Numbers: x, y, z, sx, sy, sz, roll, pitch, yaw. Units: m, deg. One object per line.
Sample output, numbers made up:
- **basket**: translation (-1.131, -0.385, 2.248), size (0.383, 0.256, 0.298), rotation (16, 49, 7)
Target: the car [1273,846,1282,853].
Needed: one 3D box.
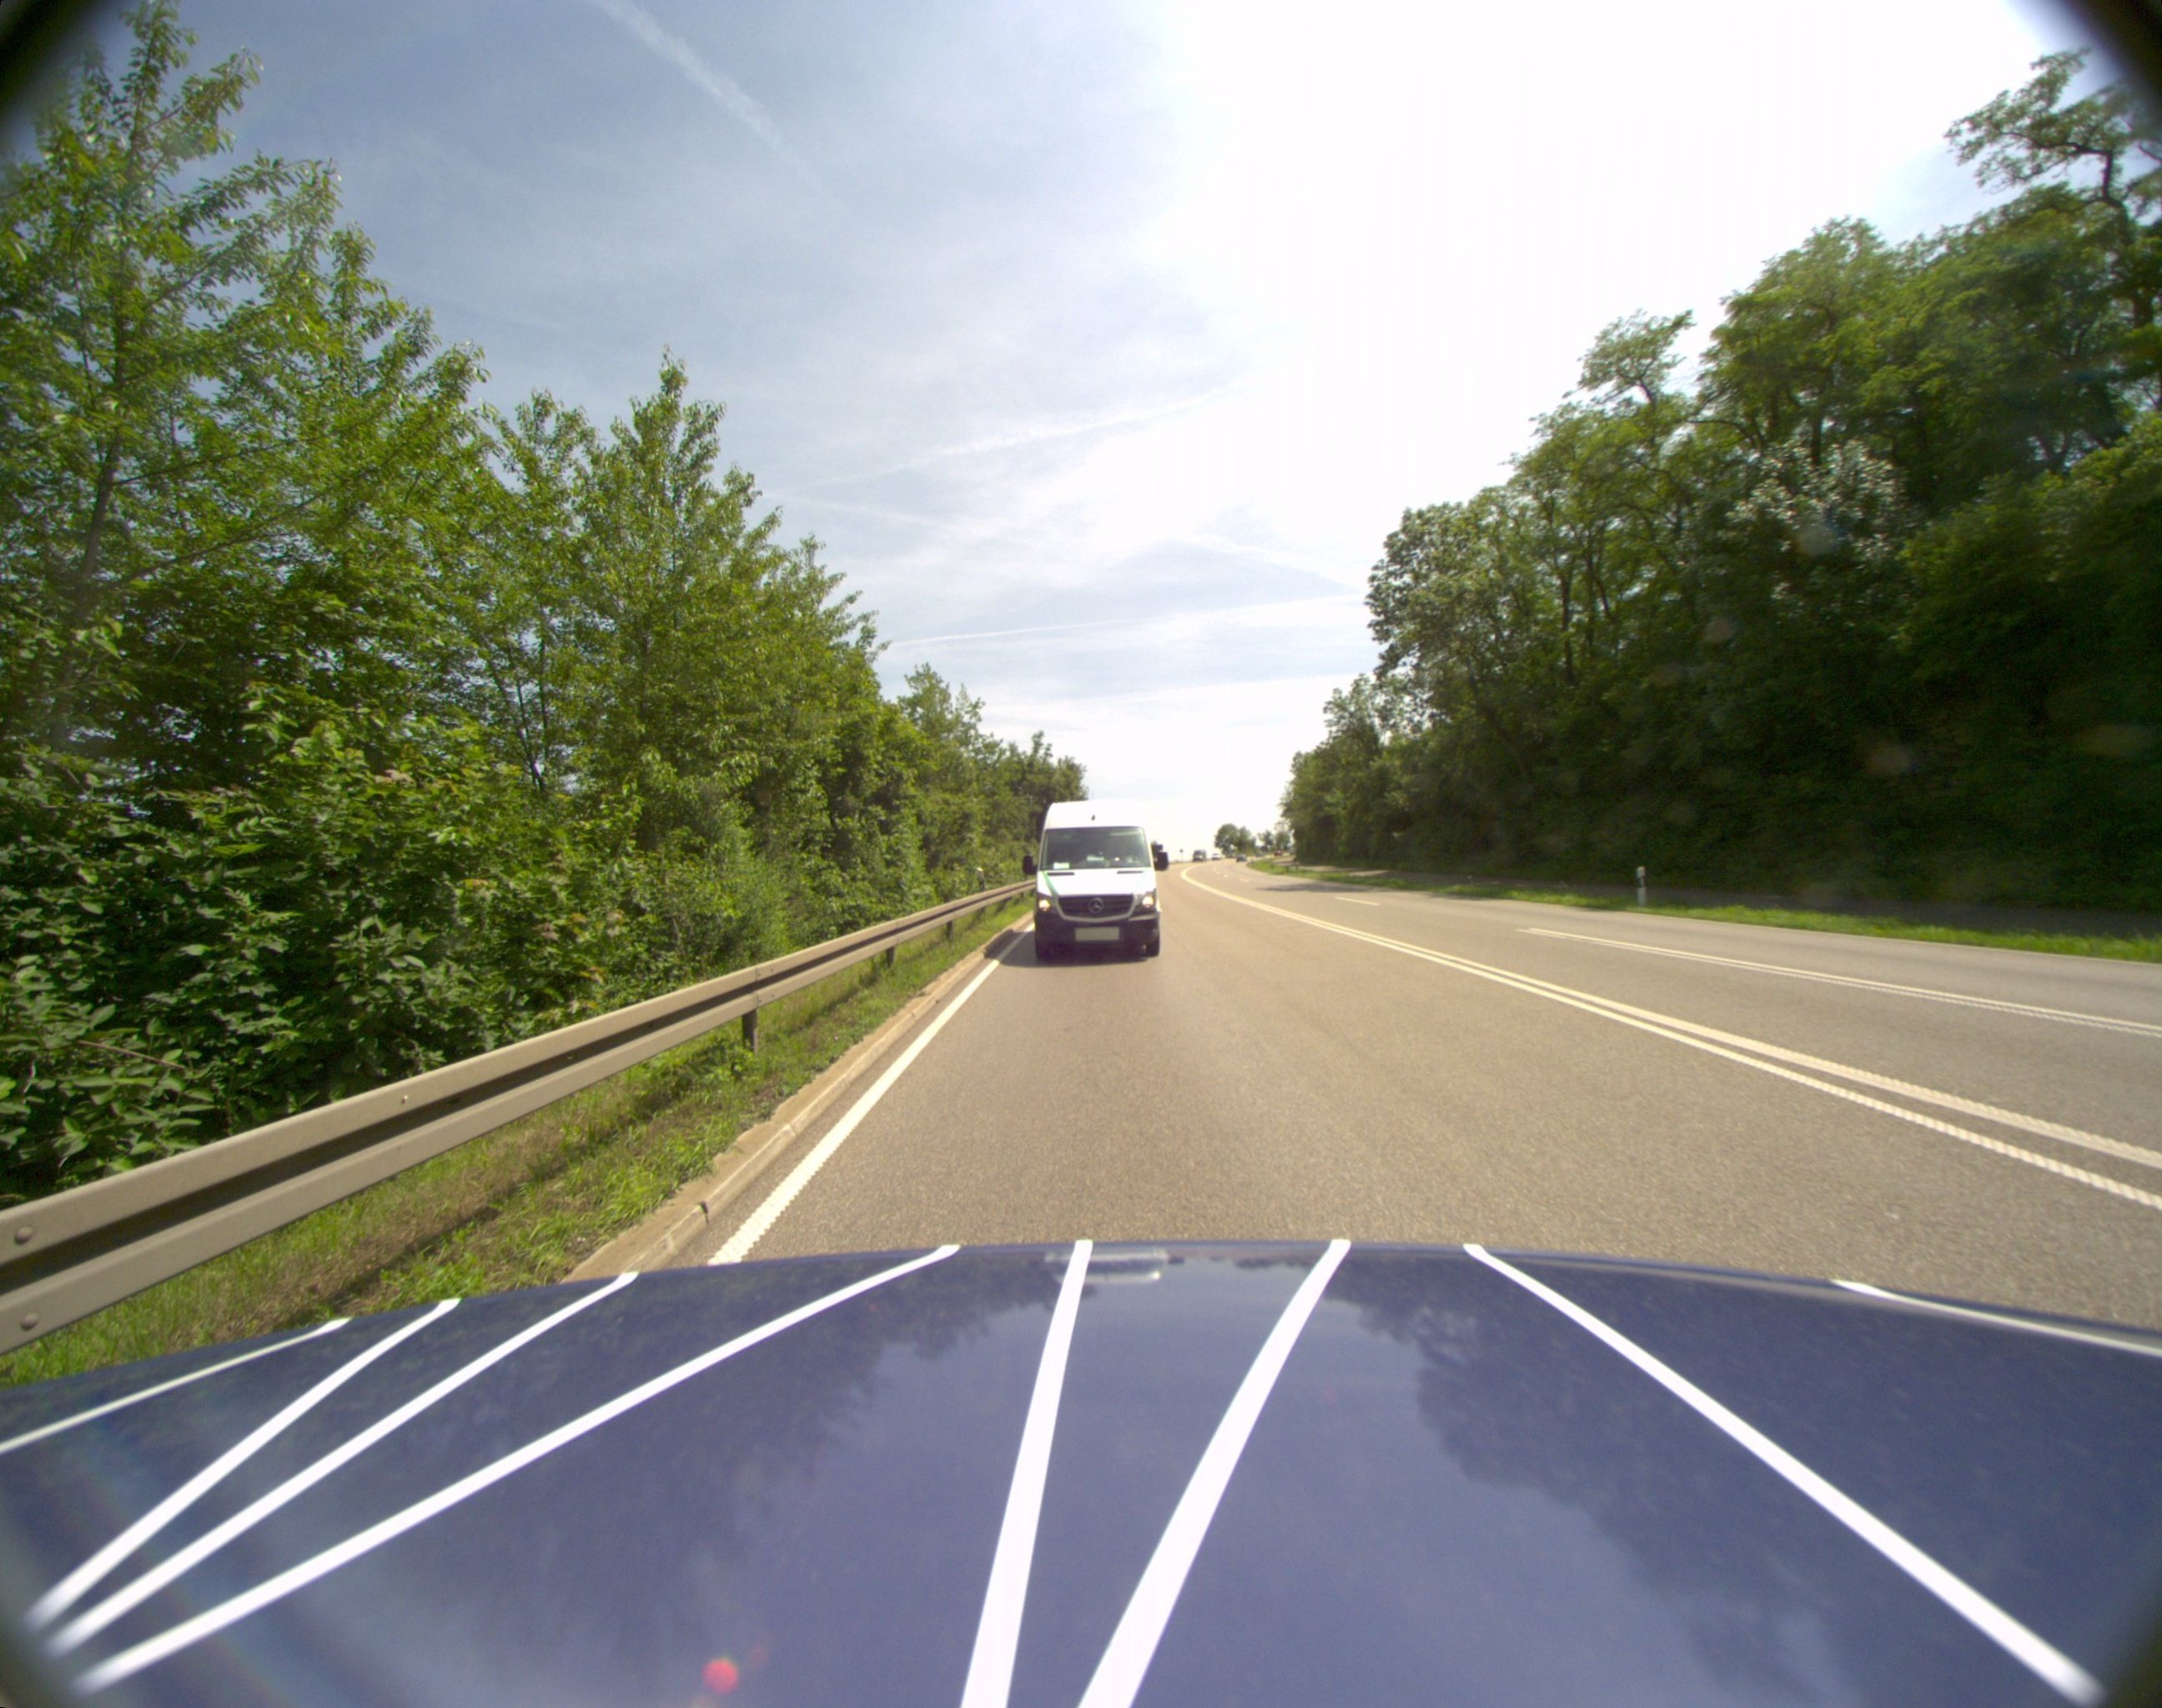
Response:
- **car**: translation (51.079, -1.177, 197.552), size (1.996, 1.665, 4.005), rotation (-2, 0, 16)

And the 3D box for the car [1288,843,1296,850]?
- **car**: translation (61.581, -2.103, 221.732), size (1.815, 2.002, 3.875), rotation (-2, 1, 18)

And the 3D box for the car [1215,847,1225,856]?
- **car**: translation (32.304, -0.656, 176.344), size (1.849, 2.002, 3.876), rotation (-2, 1, 17)

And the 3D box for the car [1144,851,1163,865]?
- **car**: translation (9.662, 0.535, 100.507), size (1.997, 1.718, 4.003), rotation (-2, 1, 12)

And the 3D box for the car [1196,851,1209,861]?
- **car**: translation (24.574, 0.413, 153.143), size (1.996, 2.002, 4.005), rotation (-2, 0, 16)

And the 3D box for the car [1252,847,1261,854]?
- **car**: translation (44.695, -0.879, 193.186), size (1.958, 1.717, 3.916), rotation (-2, 0, 17)

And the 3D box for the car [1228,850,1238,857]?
- **car**: translation (38.931, -0.129, 194.313), size (1.763, 1.849, 3.815), rotation (-2, 1, 22)

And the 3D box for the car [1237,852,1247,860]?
- **car**: translation (29.945, 0.409, 141.082), size (1.805, 1.379, 3.874), rotation (-2, 0, 13)

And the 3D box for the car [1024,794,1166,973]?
- **car**: translation (0.269, 0.421, 13.278), size (1.958, 2.502, 5.267), rotation (-1, 0, 2)
